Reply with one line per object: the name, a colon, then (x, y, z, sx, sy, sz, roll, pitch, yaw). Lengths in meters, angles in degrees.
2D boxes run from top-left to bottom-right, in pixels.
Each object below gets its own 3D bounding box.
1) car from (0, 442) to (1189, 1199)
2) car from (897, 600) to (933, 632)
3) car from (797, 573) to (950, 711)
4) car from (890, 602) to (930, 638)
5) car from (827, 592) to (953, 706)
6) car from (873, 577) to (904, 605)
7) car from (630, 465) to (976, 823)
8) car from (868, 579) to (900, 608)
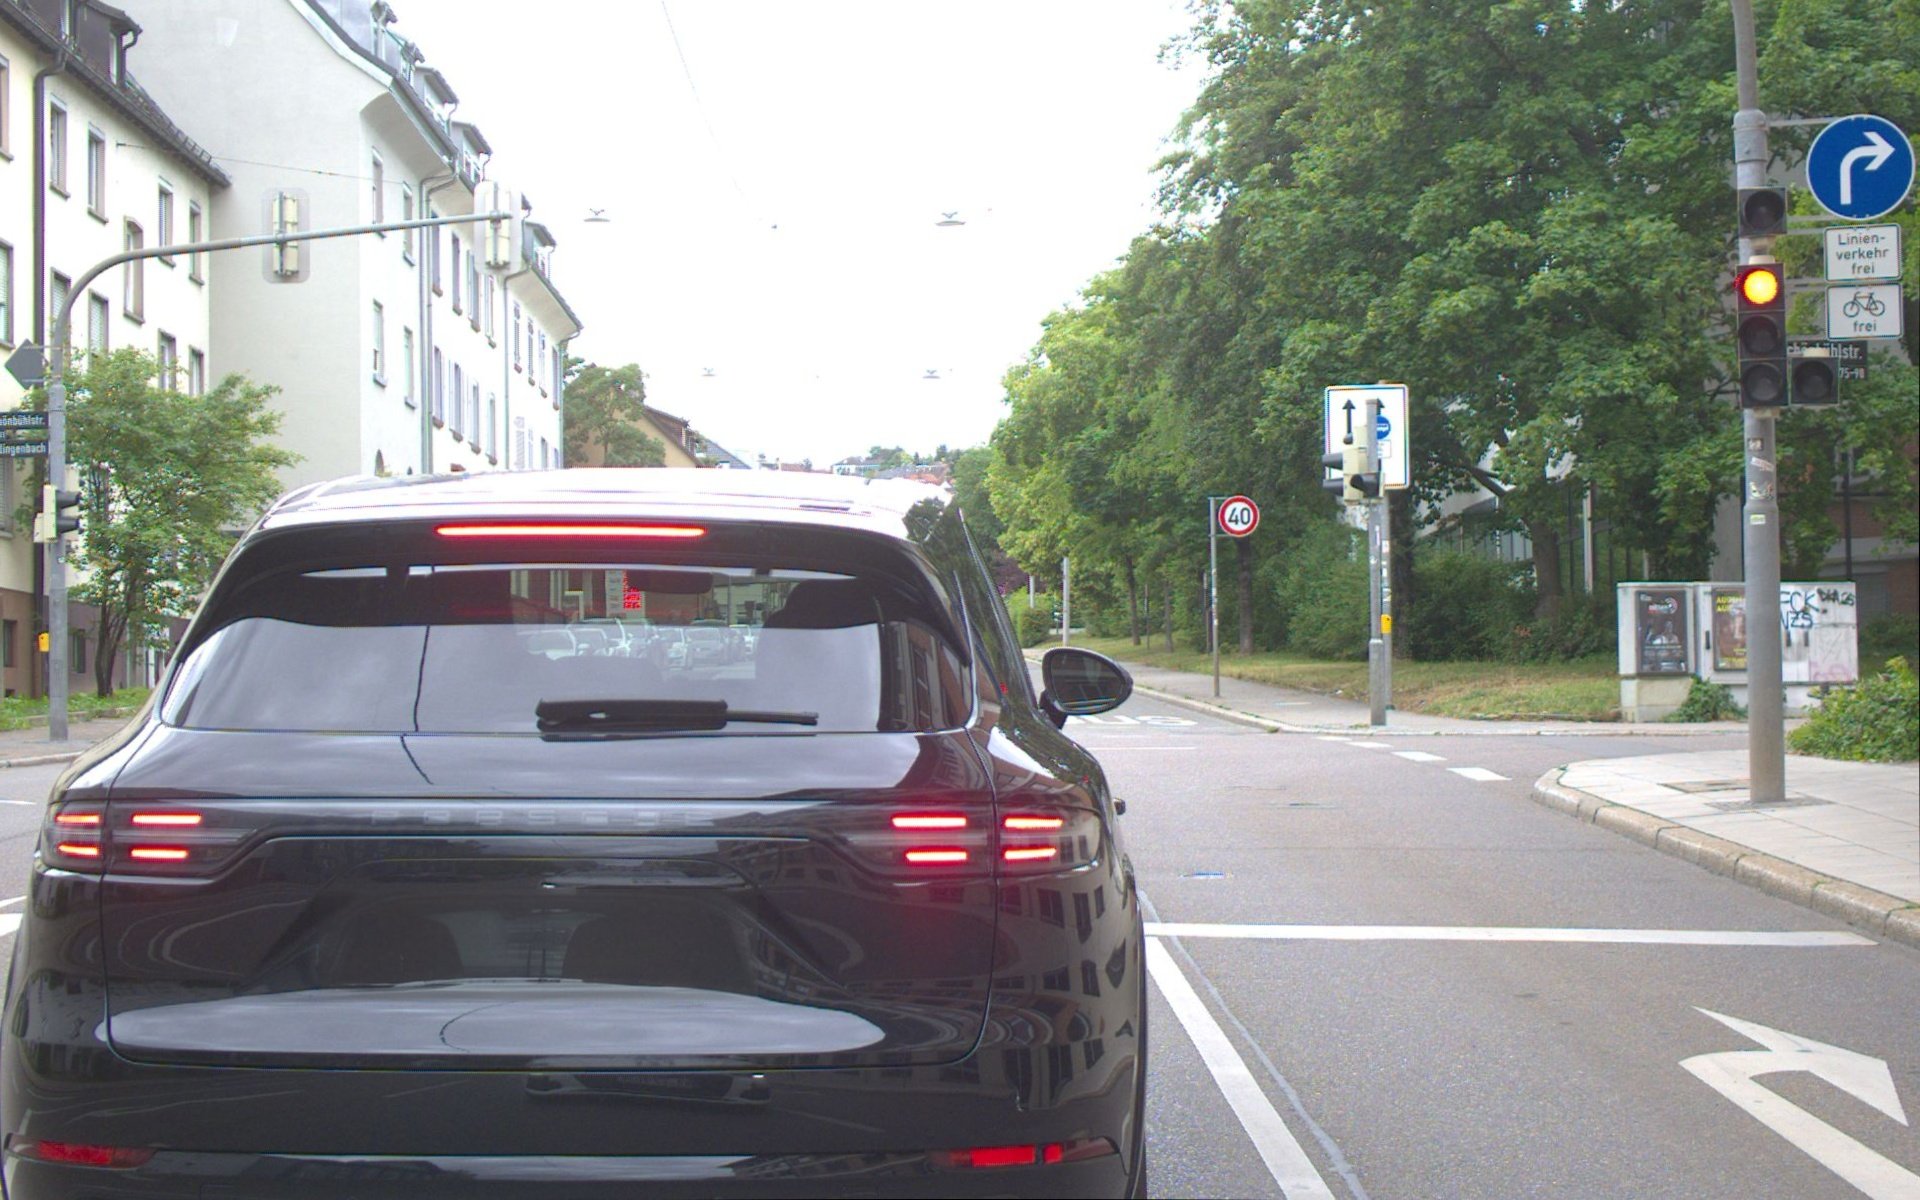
car: (-0.709, 0.570, 7.262, 2.048, 1.660, 4.267, 1, 1, 0)
car: (-2.387, 0.832, 182.498, 1.827, 1.599, 4.135, 1, 1, 0)
car: (-1.066, 0.492, 43.834, 1.827, 1.599, 4.135, 1, 1, 0)
car: (-2.379, 0.944, 163.322, 1.827, 1.599, 4.135, 1, 1, 0)
car: (-1.041, 0.714, 52.552, 1.827, 1.599, 3.859, 1, 1, 0)
car: (-4.385, -0.566, 210.283, 1.827, 1.599, 4.135, 1, 1, 0)
car: (-0.917, 0.219, 21.909, 1.965, 2.035, 4.135, 1, 1, 0)
car: (-4.483, -0.412, 202.957, 1.827, 1.599, 4.135, 1, 1, 0)
